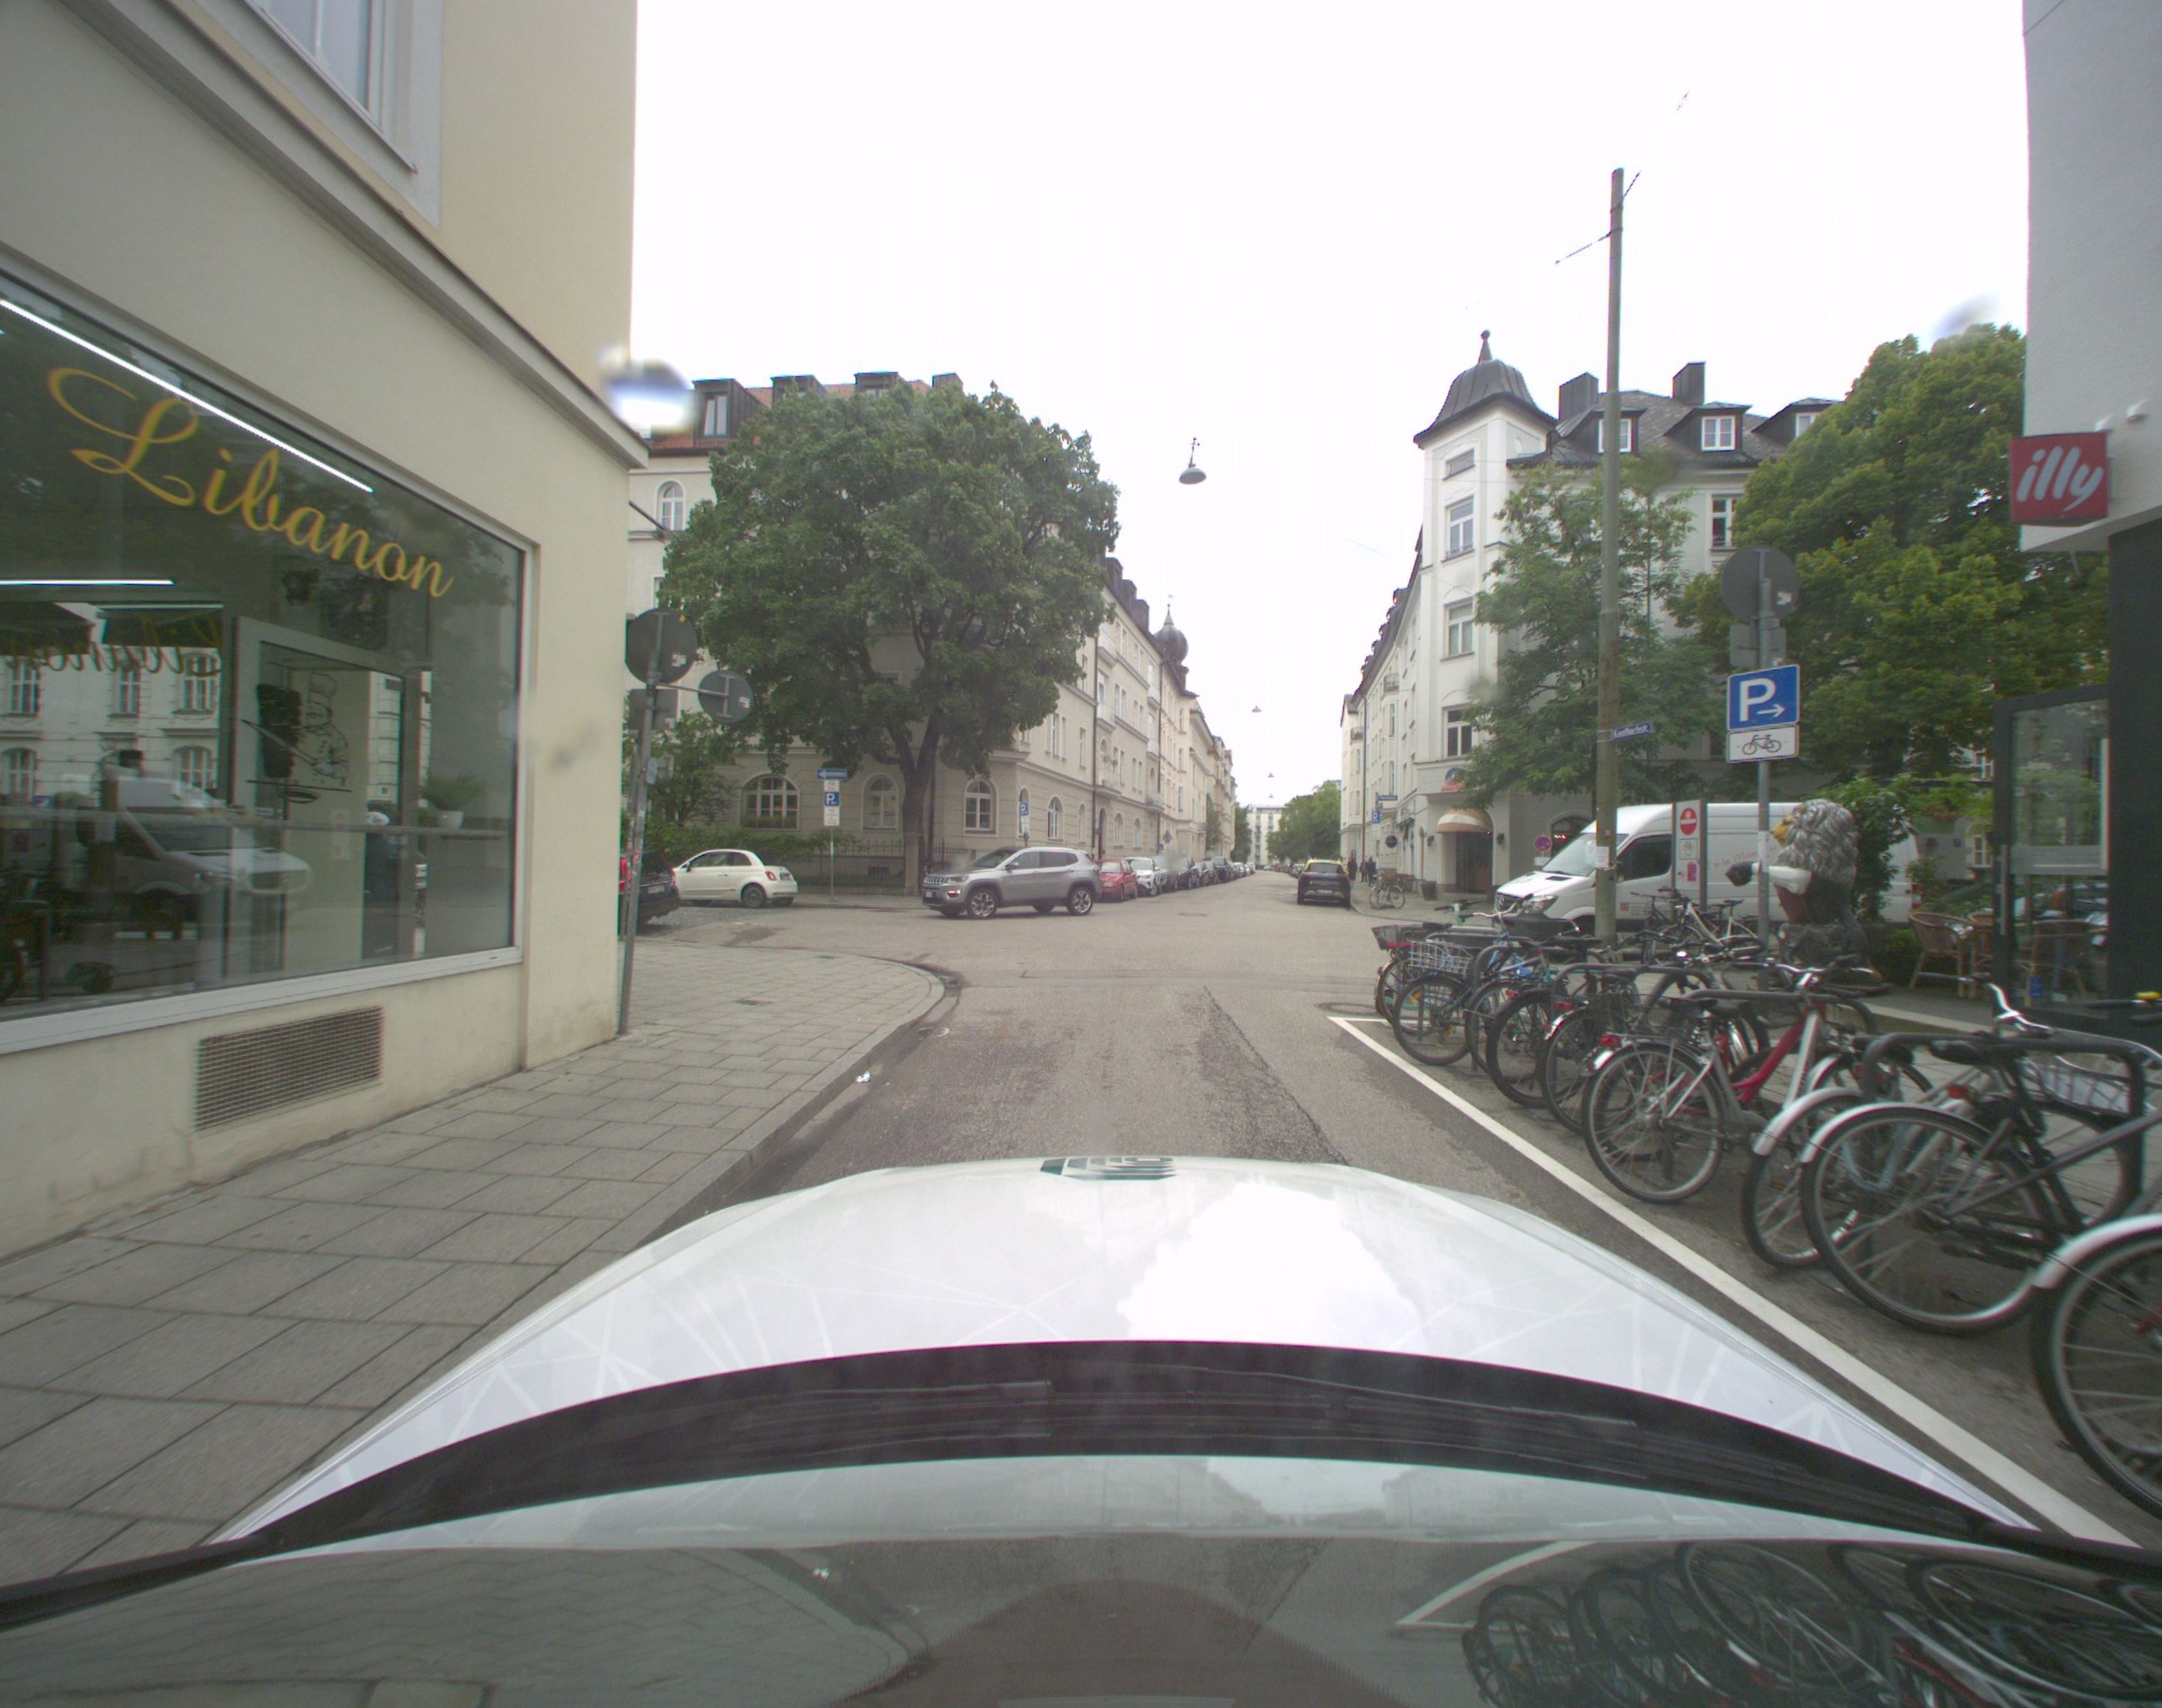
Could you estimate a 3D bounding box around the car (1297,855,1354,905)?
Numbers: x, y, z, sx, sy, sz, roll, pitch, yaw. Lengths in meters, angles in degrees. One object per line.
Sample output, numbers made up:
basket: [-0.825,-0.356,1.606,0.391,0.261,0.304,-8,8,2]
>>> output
car: [9.027,0.905,30.262,1.807,1.636,4.306,3,0,15]

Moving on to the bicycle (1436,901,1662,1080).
bicycle: [3.358,0.966,5.866,1.449,1.207,0.394,1,0,-7]

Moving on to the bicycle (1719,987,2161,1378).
bicycle: [3.256,1.017,2.706,1.869,1.052,0.564,1,-2,-3]

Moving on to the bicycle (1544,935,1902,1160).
bicycle: [3.341,0.997,4.283,1.608,1.079,0.378,1,1,-2]

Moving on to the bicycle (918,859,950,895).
bicycle: [-4.678,0.708,25.975,0.491,1.052,1.831,1,2,7]

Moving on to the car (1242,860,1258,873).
car: [22.286,1.632,107.122,1.980,1.574,4.013,1,0,12]

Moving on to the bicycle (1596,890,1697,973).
bicycle: [8.192,1.111,11.813,1.171,1.127,0.340,1,0,7]

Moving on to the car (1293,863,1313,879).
car: [23.596,1.775,86.744,1.893,1.576,4.014,1,0,13]

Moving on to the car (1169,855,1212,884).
car: [6.472,0.870,47.708,1.911,1.546,4.017,1,0,16]

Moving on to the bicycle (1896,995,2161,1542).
bicycle: [3.142,0.943,2.005,1.869,1.095,0.439,1,1,-2]

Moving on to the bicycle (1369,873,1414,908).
bicycle: [9.955,1.153,26.184,0.539,0.999,1.750,-2,0,-8]

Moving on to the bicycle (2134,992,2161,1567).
bicycle: [3.165,0.882,1.462,1.888,1.170,0.565,0,0,-2]

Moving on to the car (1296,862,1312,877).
car: [31.307,2.106,114.611,1.980,1.982,4.910,1,0,13]

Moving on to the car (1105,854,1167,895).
car: [2.248,0.772,32.247,1.981,1.473,4.230,1,0,10]

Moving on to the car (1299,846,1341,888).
car: [11.757,0.643,40.255,1.807,1.871,4.306,3,0,15]

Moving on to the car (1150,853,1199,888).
car: [4.823,0.814,41.624,1.980,1.676,4.303,1,0,13]

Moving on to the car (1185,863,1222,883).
car: [8.079,1.216,53.642,1.892,1.222,4.016,1,0,16]

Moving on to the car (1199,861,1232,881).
car: [9.622,1.174,57.974,1.892,1.329,4.016,1,0,16]

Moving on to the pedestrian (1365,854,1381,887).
pedestrian: [16.508,0.922,46.031,0.772,1.851,1.027,1,0,16]

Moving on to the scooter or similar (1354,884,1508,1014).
scooter or similar: [3.468,0.930,8.123,1.347,1.210,0.418,1,0,3]

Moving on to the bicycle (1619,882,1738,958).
bicycle: [8.926,0.983,12.187,1.497,1.071,0.370,1,0,0]

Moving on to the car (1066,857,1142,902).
car: [0.864,0.801,27.442,1.718,1.378,4.242,1,0,13]

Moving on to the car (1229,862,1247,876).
car: [16.706,1.572,86.576,1.722,1.420,4.013,1,0,12]

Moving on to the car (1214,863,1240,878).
car: [12.490,1.410,69.484,1.893,1.222,4.015,1,0,14]

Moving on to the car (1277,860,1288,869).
car: [44.590,2.324,180.119,1.980,1.982,4.908,1,0,11]

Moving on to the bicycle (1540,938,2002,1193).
bicycle: [3.211,0.974,3.845,1.869,1.079,0.408,1,1,-2]

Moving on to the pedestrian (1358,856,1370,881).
pedestrian: [21.901,1.113,62.989,0.771,1.851,0.864,1,0,22]

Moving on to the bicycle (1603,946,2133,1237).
bicycle: [3.236,0.963,3.405,1.869,1.079,0.402,1,1,-2]

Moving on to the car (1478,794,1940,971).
car: [10.070,0.395,13.551,5.863,2.591,2.063,1,1,6]

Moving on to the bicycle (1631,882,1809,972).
bicycle: [8.736,0.979,11.183,1.891,1.127,0.593,1,0,6]

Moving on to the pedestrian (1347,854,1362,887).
pedestrian: [15.689,0.934,46.762,0.772,1.851,1.027,1,0,16]

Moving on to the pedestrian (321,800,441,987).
pedestrian: [-6.389,0.353,7.462,0.604,1.642,0.536,1,0,-11]

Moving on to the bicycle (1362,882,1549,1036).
bicycle: [3.345,0.920,7.328,1.451,1.285,0.445,1,0,2]

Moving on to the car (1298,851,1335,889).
car: [13.153,0.879,45.702,1.807,1.923,4.200,3,0,15]

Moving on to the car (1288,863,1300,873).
car: [37.006,2.470,141.522,1.937,1.652,4.014,0,-1,13]

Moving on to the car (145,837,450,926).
car: [-14.732,0.469,15.466,4.233,1.508,1.685,1,2,3]

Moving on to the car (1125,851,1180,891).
car: [3.315,0.760,36.993,1.980,1.676,4.025,1,0,12]

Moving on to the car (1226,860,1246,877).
car: [15.397,1.411,80.740,1.808,1.574,4.013,1,0,12]

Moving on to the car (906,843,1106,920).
car: [-1.693,0.594,19.174,4.329,1.607,1.941,1,0,-38]

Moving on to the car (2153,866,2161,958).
car: [20.503,1.059,12.931,4.218,1.568,1.815,1,1,5]

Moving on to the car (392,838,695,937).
car: [-9.708,0.550,14.962,4.315,1.515,1.906,2,3,3]

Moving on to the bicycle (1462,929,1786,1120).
bicycle: [3.349,1.042,5.082,1.735,1.079,0.452,1,1,-2]

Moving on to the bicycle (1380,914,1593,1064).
bicycle: [3.131,1.028,6.321,1.449,1.069,0.462,1,0,-7]

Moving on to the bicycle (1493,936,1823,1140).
bicycle: [3.282,1.038,4.669,1.670,1.079,0.336,1,1,-2]

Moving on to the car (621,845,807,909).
car: [-9.321,0.564,20.821,3.966,1.449,1.688,2,0,6]
